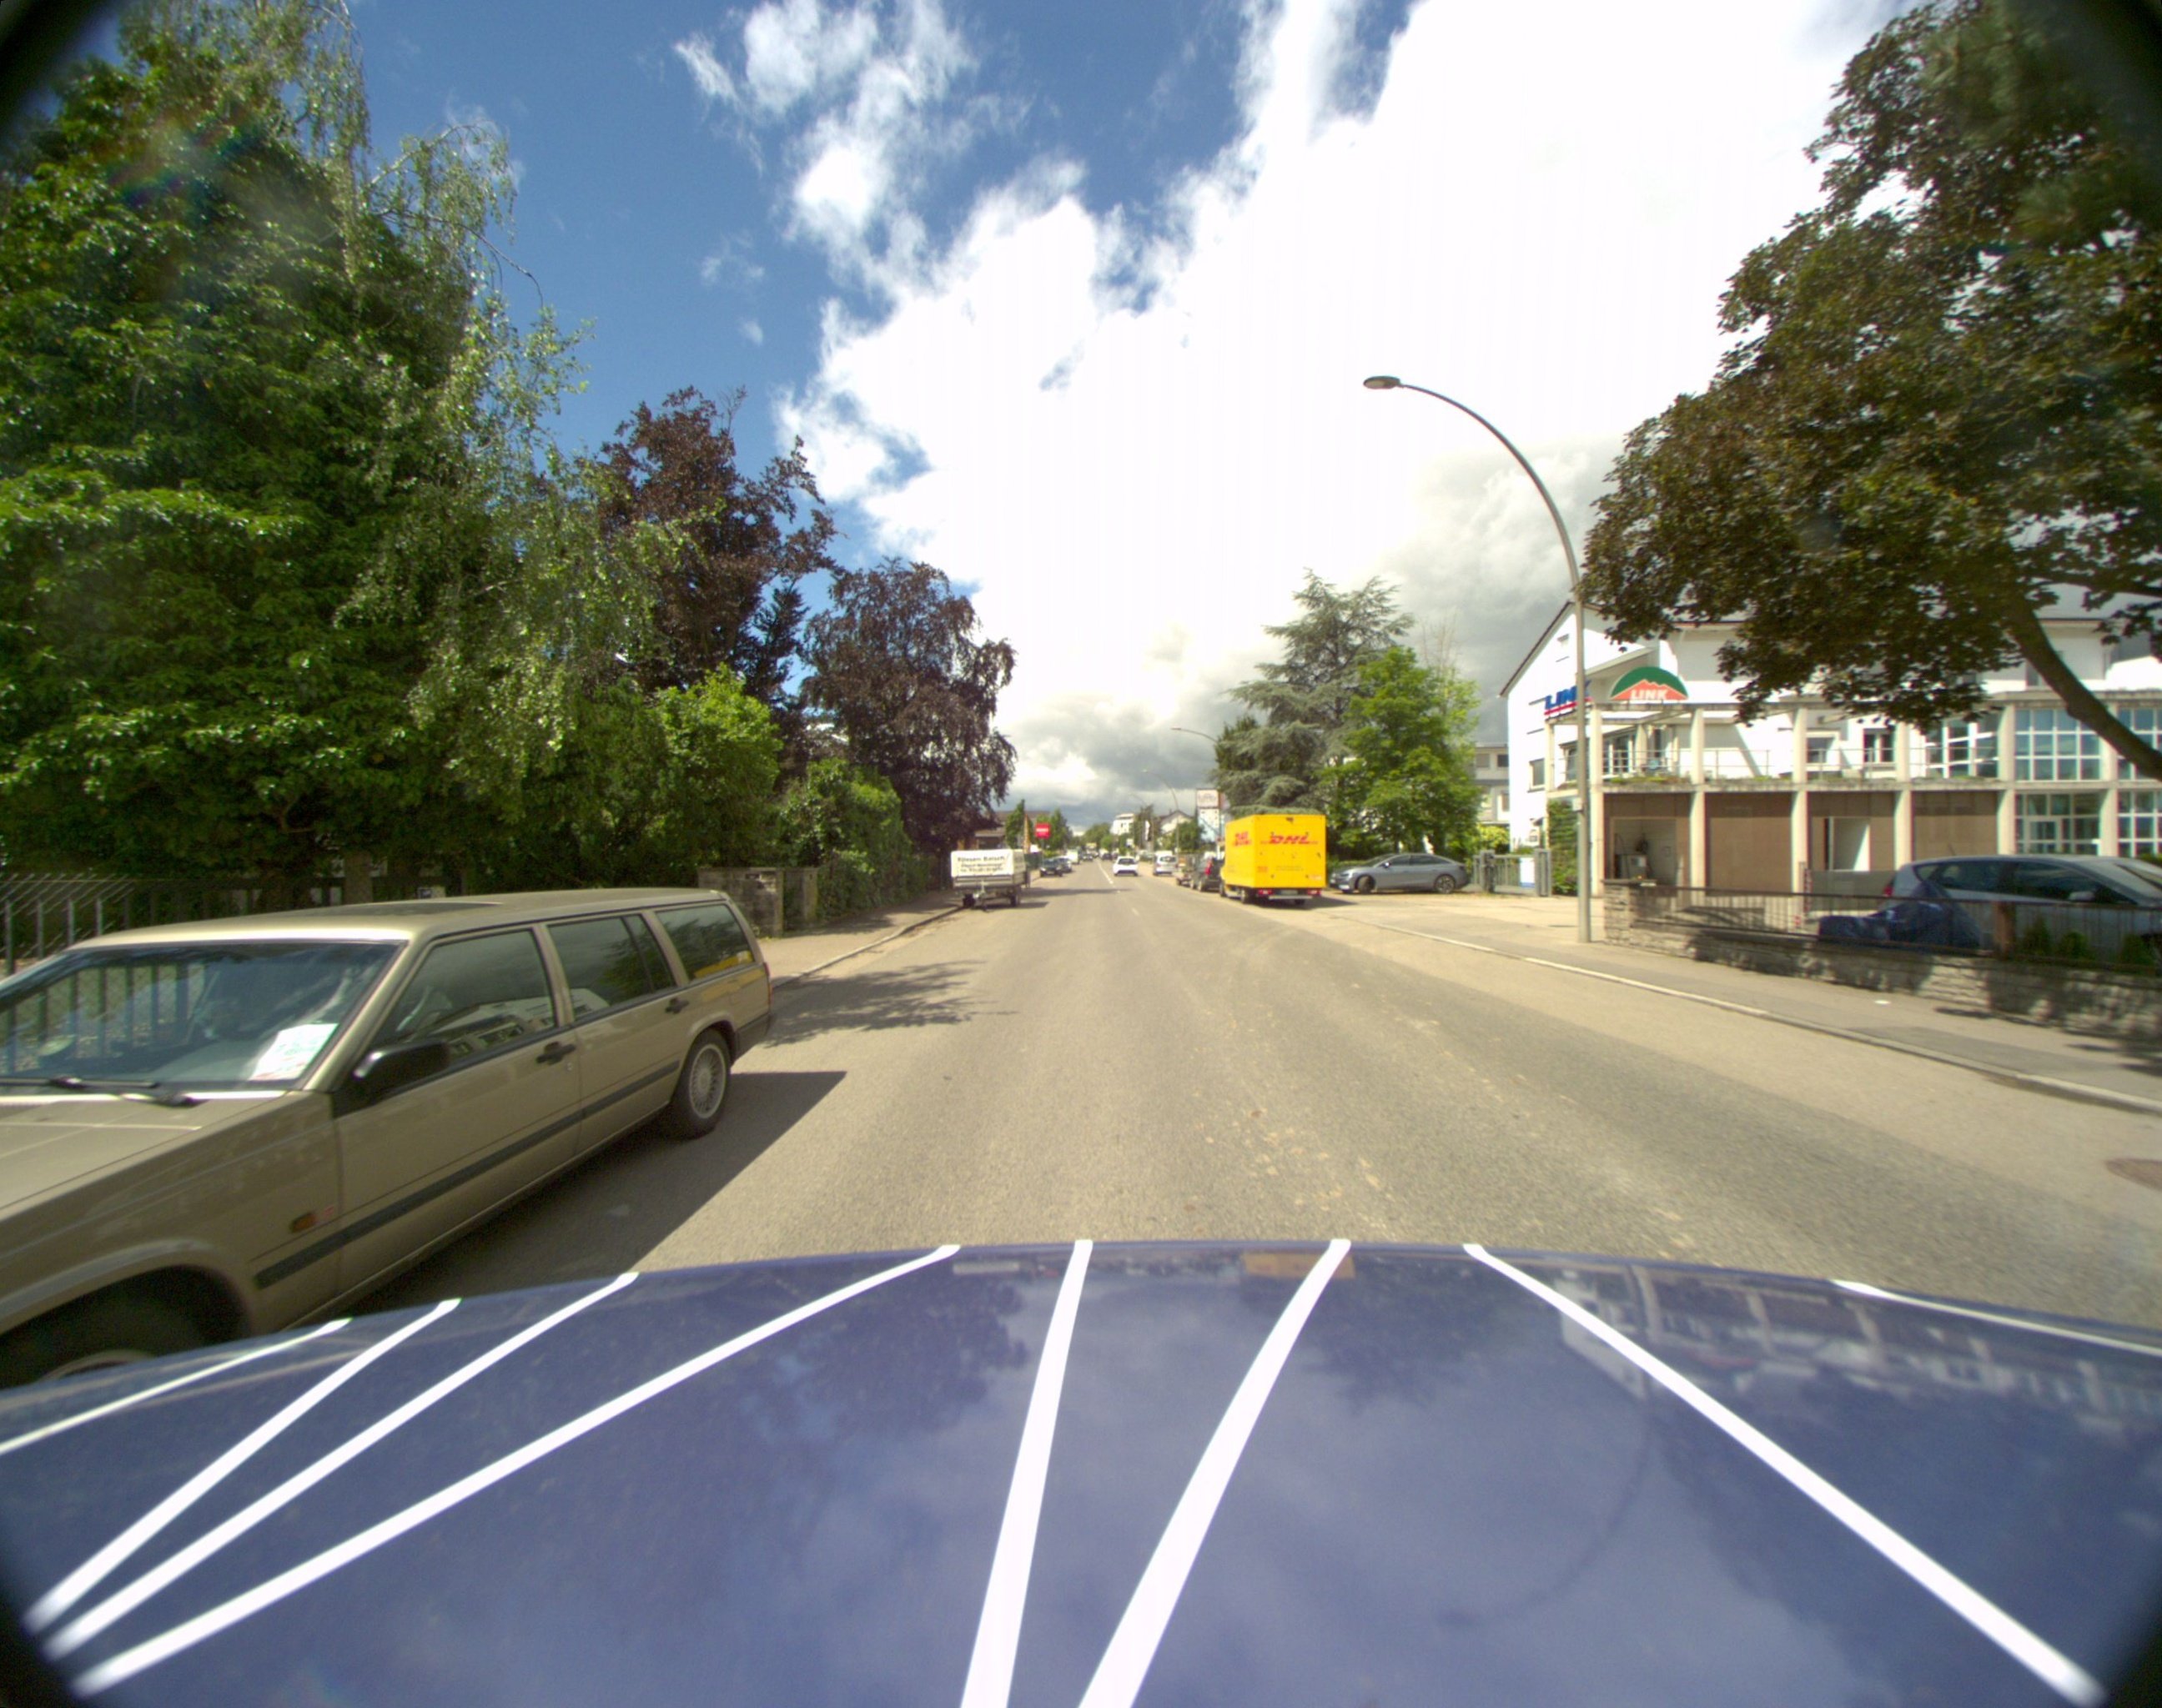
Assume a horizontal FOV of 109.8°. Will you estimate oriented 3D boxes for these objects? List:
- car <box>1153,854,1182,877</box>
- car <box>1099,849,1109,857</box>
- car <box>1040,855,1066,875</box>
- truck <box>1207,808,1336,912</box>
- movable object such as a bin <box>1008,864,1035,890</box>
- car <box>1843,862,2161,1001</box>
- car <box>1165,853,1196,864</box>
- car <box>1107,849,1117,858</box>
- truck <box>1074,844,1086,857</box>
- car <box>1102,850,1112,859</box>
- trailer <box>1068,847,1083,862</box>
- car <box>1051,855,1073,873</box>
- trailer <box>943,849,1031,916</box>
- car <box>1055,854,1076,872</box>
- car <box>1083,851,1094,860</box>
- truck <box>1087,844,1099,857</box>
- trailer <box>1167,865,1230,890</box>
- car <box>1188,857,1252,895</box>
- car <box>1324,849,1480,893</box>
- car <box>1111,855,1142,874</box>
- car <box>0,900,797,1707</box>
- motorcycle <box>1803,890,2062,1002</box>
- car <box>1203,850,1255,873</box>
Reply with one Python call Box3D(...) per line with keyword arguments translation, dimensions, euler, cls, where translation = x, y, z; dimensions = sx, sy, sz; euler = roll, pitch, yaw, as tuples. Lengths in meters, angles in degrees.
Box3D(translation=(6.571, 0.823, 58.093), dimensions=(1.809, 1.666, 4.128), euler=(2, 0, 1), cls="car")
Box3D(translation=(5.965, -0.317, 197.825), dimensions=(2.384, 2.002, 6.384), euler=(0, 0, 1), cls="car")
Box3D(translation=(-2.179, 0.862, 59.843), dimensions=(1.759, 1.455, 4.000), euler=(-1, 0, 1), cls="car")
Box3D(translation=(6.229, 0.161, 26.188), dimensions=(2.329, 2.986, 7.817), euler=(2, 0, 0), cls="truck")
Box3D(translation=(-3.042, 1.149, 38.991), dimensions=(1.115, 1.283, 1.358), euler=(0, 0, 5), cls="movable object such as a bin")
Box3D(translation=(13.088, 0.901, 10.064), dimensions=(1.772, 1.534, 4.086), euler=(0, 0, -3), cls="car")
Box3D(translation=(13.713, 0.638, 104.540), dimensions=(4.046, 1.485, 1.675), euler=(0, 0, 0), cls="car")
Box3D(translation=(6.092, -0.044, 150.091), dimensions=(1.859, 1.686, 4.000), euler=(-1, 0, 0), cls="car")
Box3D(translation=(-0.215, -0.788, 169.804), dimensions=(2.410, 2.722, 6.640), euler=(-2, 1, 1), cls="truck")
Box3D(translation=(5.798, 0.074, 171.693), dimensions=(1.999, 1.852, 3.835), euler=(0, 0, -1), cls="car")
Box3D(translation=(-0.811, 0.100, 118.186), dimensions=(2.044, 2.214, 5.079), euler=(0, 0, 2), cls="trailer")
Box3D(translation=(-1.793, 0.920, 71.681), dimensions=(1.811, 1.566, 4.188), euler=(-3, 0, 1), cls="car")
Box3D(translation=(-2.789, 0.797, 23.620), dimensions=(1.998, 1.812, 4.765), euler=(-2, 0, 1), cls="trailer")
Box3D(translation=(-1.563, 0.863, 76.469), dimensions=(1.835, 1.608, 4.000), euler=(-3, 0, 2), cls="car")
Box3D(translation=(1.488, 0.260, 144.752), dimensions=(1.998, 1.802, 4.000), euler=(-1, 0, 1), cls="car")
Box3D(translation=(3.039, -0.974, 197.561), dimensions=(2.880, 3.290, 8.607), euler=(-2, 1, 1), cls="truck")
Box3D(translation=(6.066, 1.185, 40.223), dimensions=(2.324, 0.985, 7.459), euler=(1, 0, 1), cls="trailer")
Box3D(translation=(6.094, 0.925, 33.904), dimensions=(1.998, 1.445, 4.812), euler=(3, 0, 1), cls="car")
Box3D(translation=(11.909, 0.616, 28.443), dimensions=(5.021, 1.543, 1.972), euler=(0, 1, -1), cls="car")
Box3D(translation=(3.436, 0.783, 57.785), dimensions=(1.987, 1.412, 3.999), euler=(0, 0, -1), cls="car")
Box3D(translation=(-3.029, 1.101, 3.037), dimensions=(1.759, 1.442, 4.994), euler=(-3, 0, 1), cls="car")
Box3D(translation=(9.936, 1.038, 8.972), dimensions=(1.872, 1.159, 0.826), euler=(0, 0, 17), cls="motorcycle")
Box3D(translation=(12.332, 0.640, 63.634), dimensions=(3.996, 1.866, 2.000), euler=(0, 0, 1), cls="car")
